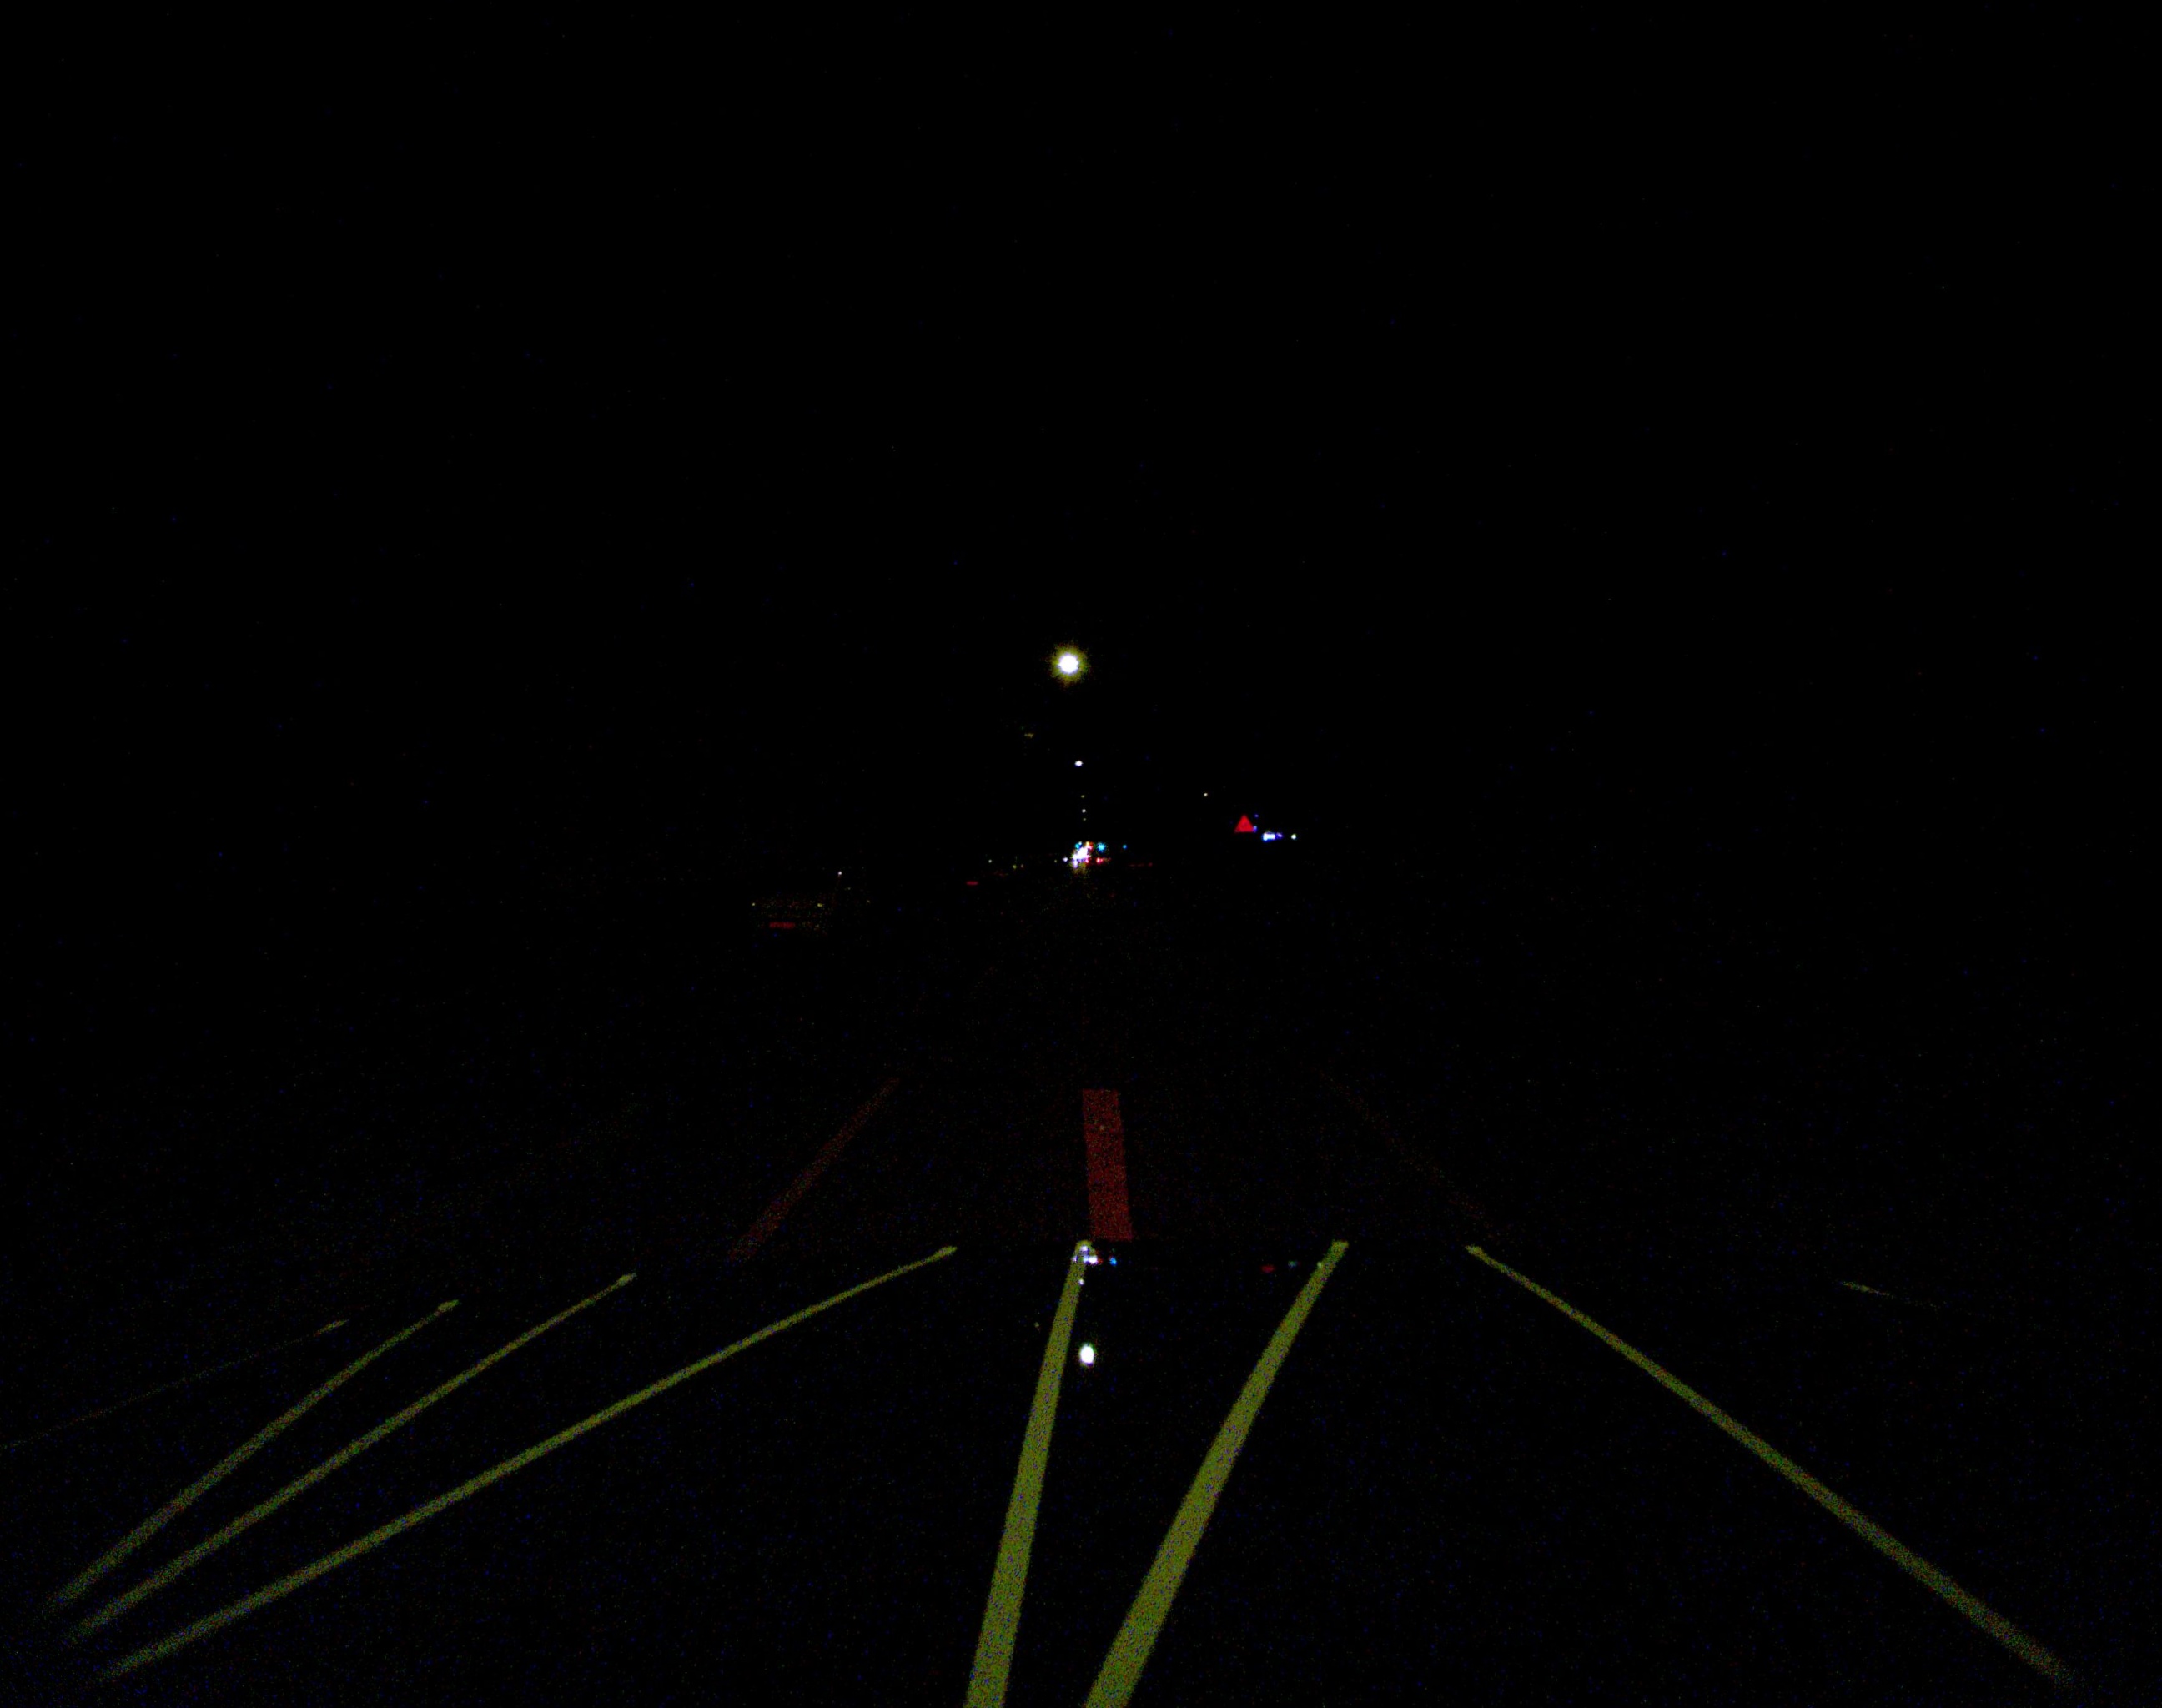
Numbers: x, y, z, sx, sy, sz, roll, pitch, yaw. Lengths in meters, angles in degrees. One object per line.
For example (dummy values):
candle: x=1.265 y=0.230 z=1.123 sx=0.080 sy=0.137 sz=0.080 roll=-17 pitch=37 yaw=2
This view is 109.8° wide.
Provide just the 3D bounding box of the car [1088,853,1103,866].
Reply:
car: x=1.699 y=0.666 z=88.669 sx=1.754 sy=1.433 sz=3.487 roll=-2 pitch=-2 yaw=1

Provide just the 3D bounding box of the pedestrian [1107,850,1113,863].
pedestrian: x=4.530 y=0.376 z=118.092 sx=0.804 sy=2.002 sz=0.940 roll=-2 pitch=1 yaw=1

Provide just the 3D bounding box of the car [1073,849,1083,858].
car: x=-0.614 y=-0.136 z=168.740 sx=1.998 sy=1.740 sz=3.999 roll=-2 pitch=1 yaw=1

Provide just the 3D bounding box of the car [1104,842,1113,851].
car: x=5.586 y=-1.527 z=153.850 sx=1.903 sy=1.581 sz=3.661 roll=-2 pitch=1 yaw=2

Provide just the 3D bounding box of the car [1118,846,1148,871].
car: x=3.904 y=0.294 z=57.264 sx=1.998 sy=1.772 sz=3.999 roll=-2 pitch=1 yaw=1

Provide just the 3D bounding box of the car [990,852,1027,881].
car: x=-4.463 y=0.748 z=47.470 sx=1.852 sy=1.643 sz=4.179 roll=-2 pitch=0 yaw=0

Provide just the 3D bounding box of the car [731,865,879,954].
car: x=-5.294 y=1.004 z=15.056 sx=1.611 sy=1.500 sz=3.486 roll=0 pitch=0 yaw=1

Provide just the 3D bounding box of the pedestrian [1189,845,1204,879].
pedestrian: x=6.071 y=0.412 z=39.870 sx=0.673 sy=1.750 sz=0.500 roll=-2 pitch=1 yaw=1

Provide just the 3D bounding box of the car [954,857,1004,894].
car: x=-4.473 y=0.902 z=33.937 sx=1.742 sy=1.489 sz=3.890 roll=-1 pitch=0 yaw=-1

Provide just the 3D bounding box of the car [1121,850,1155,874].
car: x=3.886 y=0.512 z=52.071 sx=1.998 sy=1.477 sz=3.999 roll=-3 pitch=1 yaw=1

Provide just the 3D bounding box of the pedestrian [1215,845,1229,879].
pedestrian: x=7.365 y=0.413 z=39.640 sx=0.565 sy=1.750 sz=0.500 roll=-2 pitch=1 yaw=1

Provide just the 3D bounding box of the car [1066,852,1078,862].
car: x=-1.563 y=0.474 z=134.591 sx=1.998 sy=1.718 sz=3.803 roll=-2 pitch=1 yaw=1
